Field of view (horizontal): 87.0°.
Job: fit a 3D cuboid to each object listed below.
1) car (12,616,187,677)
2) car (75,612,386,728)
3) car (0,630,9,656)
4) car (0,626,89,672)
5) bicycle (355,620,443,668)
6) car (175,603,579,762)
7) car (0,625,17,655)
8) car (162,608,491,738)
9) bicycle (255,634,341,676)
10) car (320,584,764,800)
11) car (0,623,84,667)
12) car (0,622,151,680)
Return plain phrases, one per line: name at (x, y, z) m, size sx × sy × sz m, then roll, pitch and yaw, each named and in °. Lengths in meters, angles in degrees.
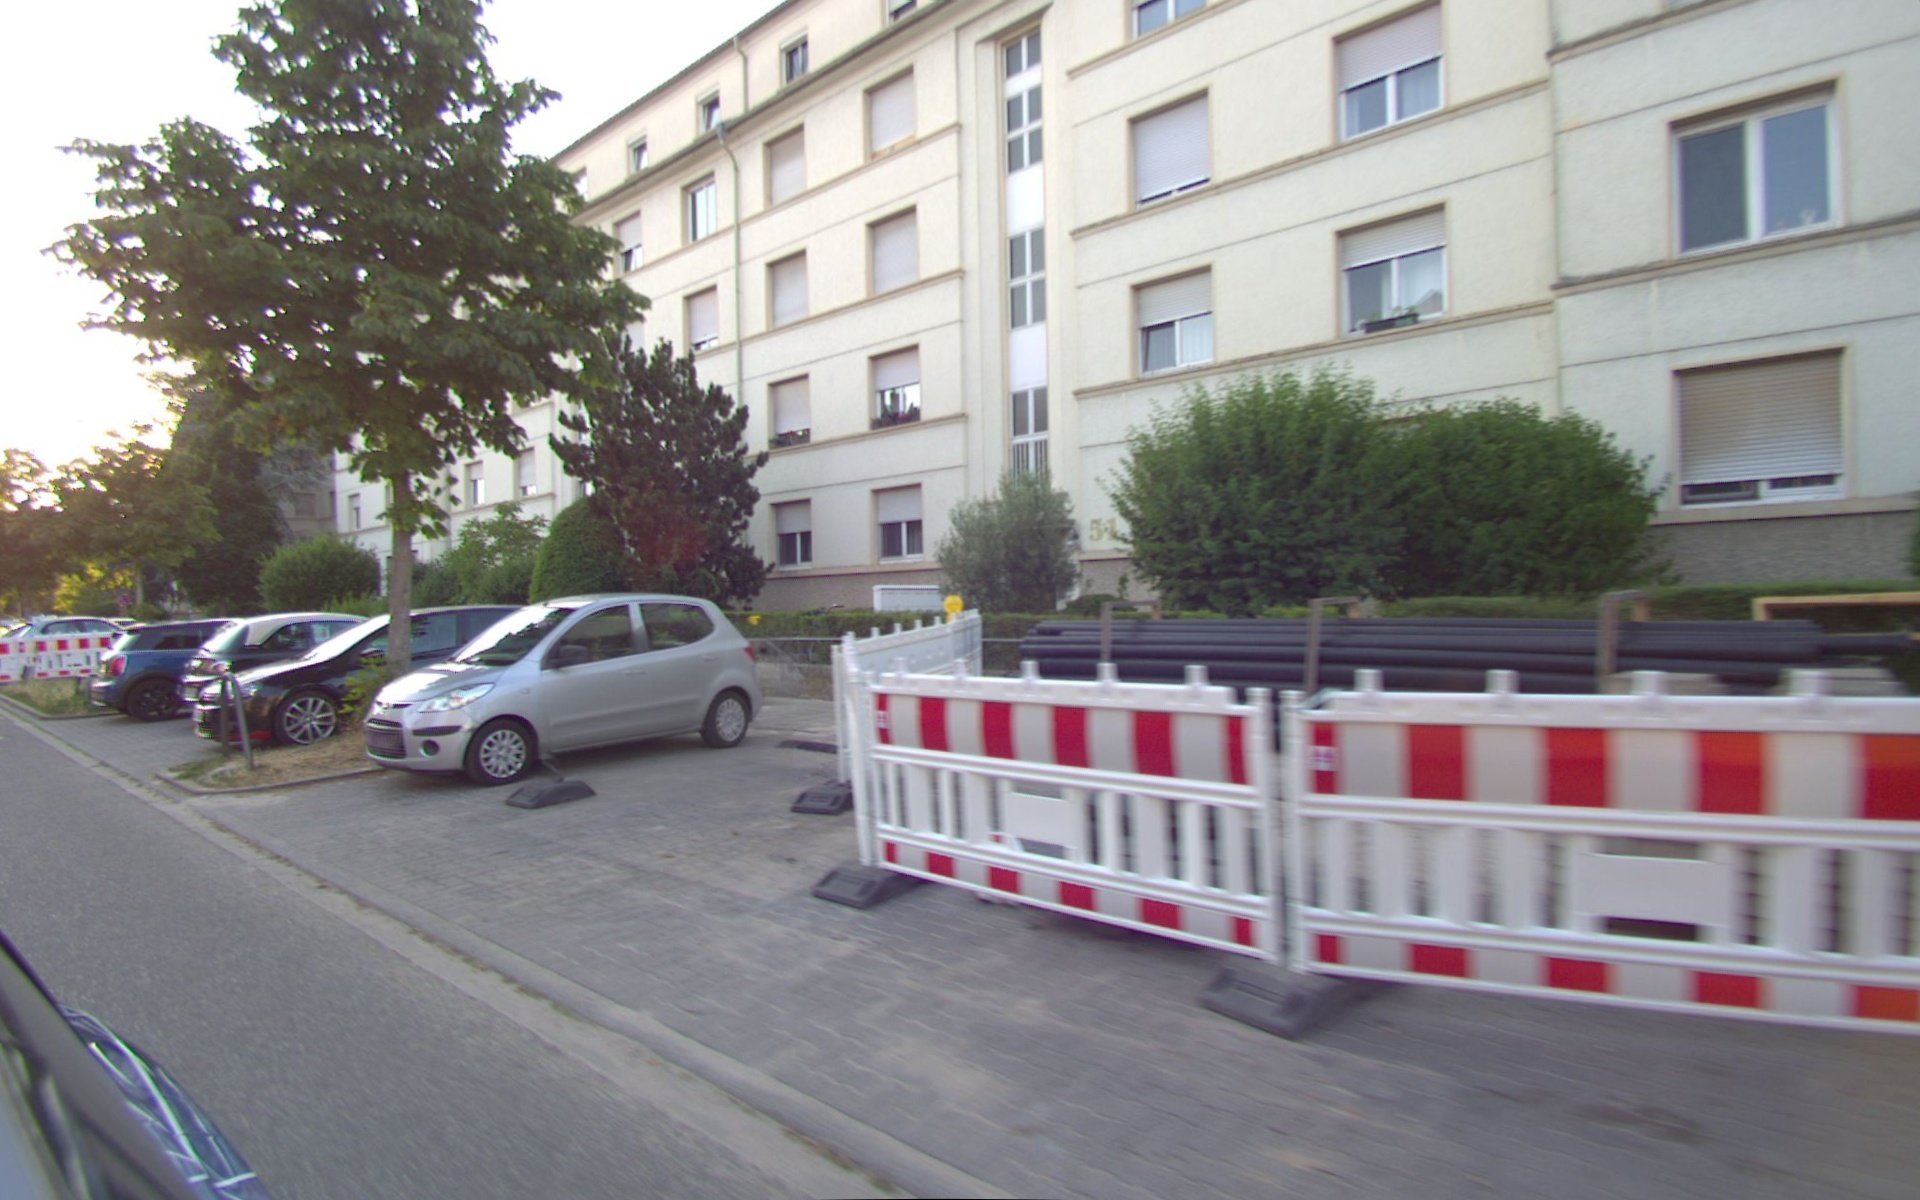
car at (-25.312, 1.332, 29.863) m, size 1.726 × 1.495 × 3.663 m, roll -3°, pitch 0°, yaw 40°
car at (-11.243, 0.980, 15.753) m, size 1.728 × 1.456 × 3.638 m, roll -1°, pitch 1°, yaw 42°
car at (-66.351, 2.962, 67.642) m, size 4.072 × 1.696 × 2.002 m, roll -1°, pitch -1°, yaw -44°
car at (-35.082, 1.852, 37.594) m, size 1.728 × 1.553 × 3.943 m, roll -2°, pitch 0°, yaw 44°
bicycle at (-15.274, 1.181, 27.613) m, size 0.540 × 1.195 × 2.007 m, roll -2°, pitch 0°, yaw 42°
car at (-6.947, 0.854, 12.350) m, size 1.728 × 1.500 × 3.934 m, roll -1°, pitch 1°, yaw 44°
car at (-68.030, 2.831, 69.561) m, size 4.719 × 2.085 × 2.002 m, roll -1°, pitch -1°, yaw -44°
car at (-8.951, 0.935, 14.516) m, size 1.727 × 1.495 × 3.639 m, roll -2°, pitch 1°, yaw 41°
bicycle at (-17.904, 1.470, 27.422) m, size 0.360 × 0.999 × 1.900 m, roll -2°, pitch 0°, yaw 42°
car at (-3.742, 0.682, 9.523) m, size 1.725 × 1.578 × 3.443 m, roll -1°, pitch 1°, yaw 37°
car at (-33.900, 1.641, 36.131) m, size 1.606 × 1.395 × 3.801 m, roll -2°, pitch 0°, yaw 42°
car at (-27.821, 1.561, 30.969) m, size 1.723 × 1.495 × 4.472 m, roll -3°, pitch 0°, yaw 33°
